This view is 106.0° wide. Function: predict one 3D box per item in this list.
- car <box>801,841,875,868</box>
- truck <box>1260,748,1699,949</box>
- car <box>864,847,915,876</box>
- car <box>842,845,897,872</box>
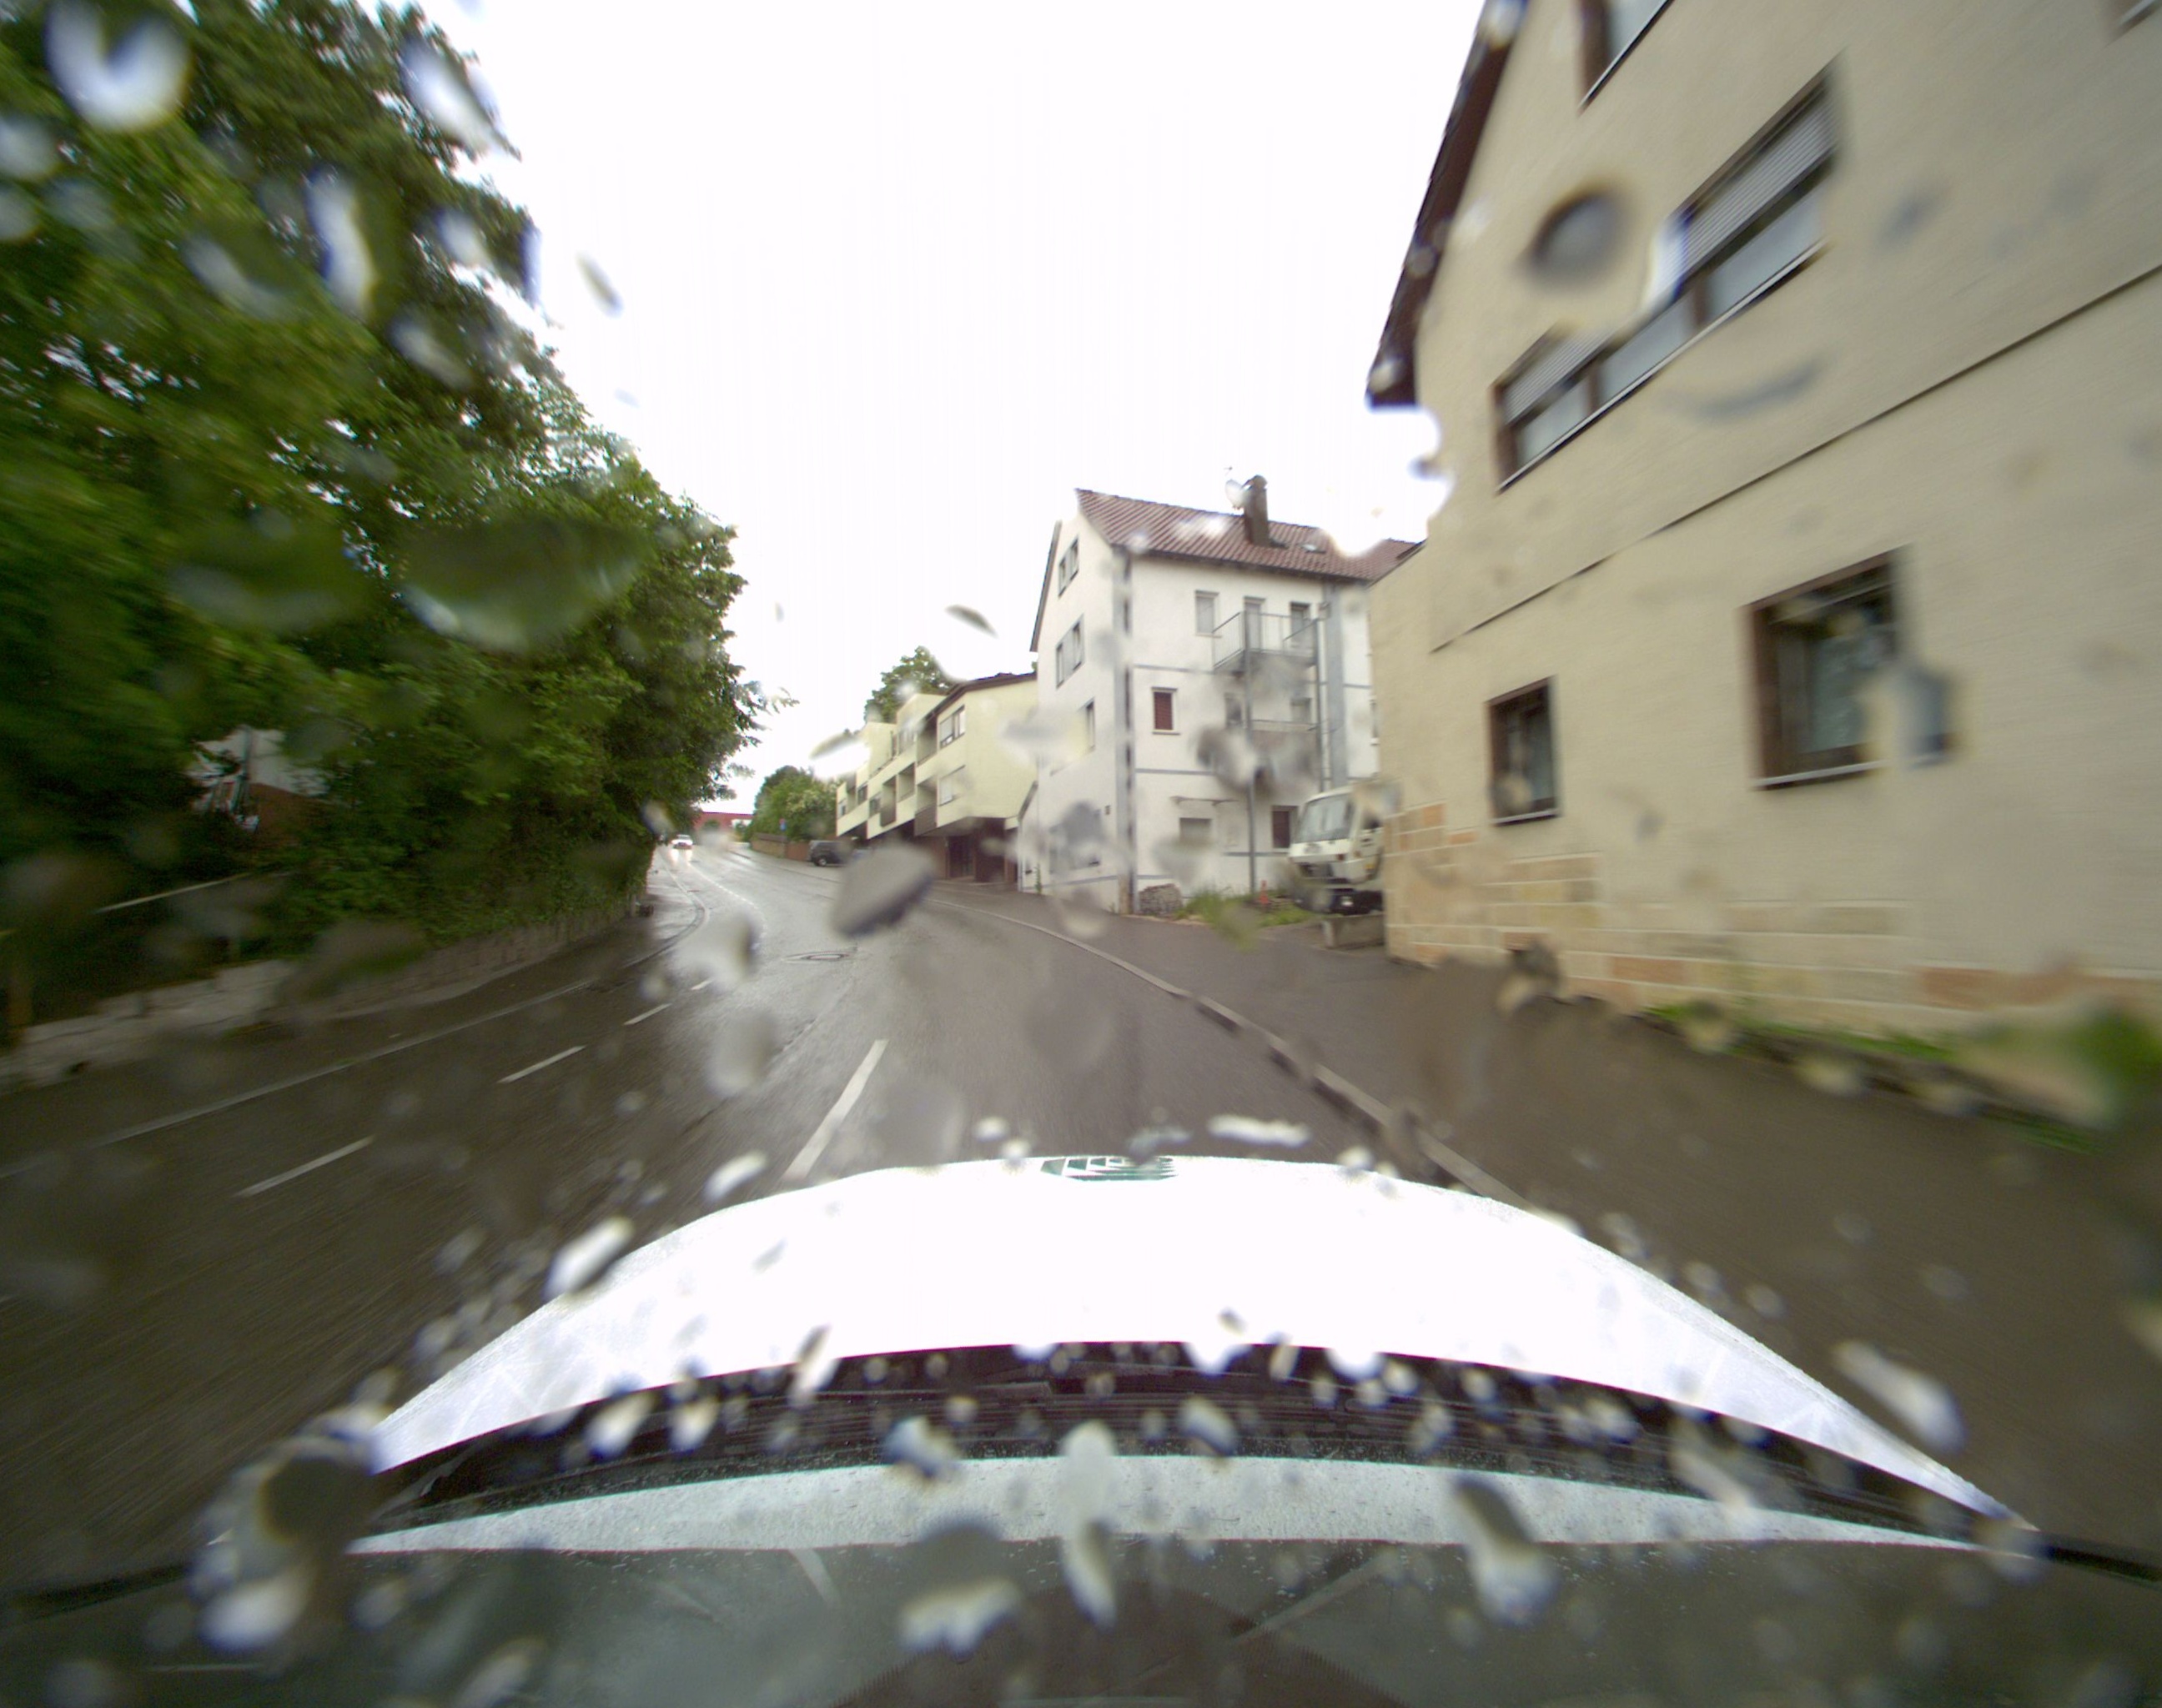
[{"bbox_3d":[-17.397,0.037,58.291,4.736,1.820,1.981,1,1,-30],"label":"car"},{"bbox_3d":[6.786,-0.211,13.918,6.968,2.702,2.130,-4,2,-15],"label":"truck"},{"bbox_3d":[-11.573,0.466,49.474,1.774,1.578,4.071,3,0,4],"label":"car"},{"bbox_3d":[-13.509,0.305,52.214,1.771,1.578,4.077,3,0,9],"label":"car"}]
